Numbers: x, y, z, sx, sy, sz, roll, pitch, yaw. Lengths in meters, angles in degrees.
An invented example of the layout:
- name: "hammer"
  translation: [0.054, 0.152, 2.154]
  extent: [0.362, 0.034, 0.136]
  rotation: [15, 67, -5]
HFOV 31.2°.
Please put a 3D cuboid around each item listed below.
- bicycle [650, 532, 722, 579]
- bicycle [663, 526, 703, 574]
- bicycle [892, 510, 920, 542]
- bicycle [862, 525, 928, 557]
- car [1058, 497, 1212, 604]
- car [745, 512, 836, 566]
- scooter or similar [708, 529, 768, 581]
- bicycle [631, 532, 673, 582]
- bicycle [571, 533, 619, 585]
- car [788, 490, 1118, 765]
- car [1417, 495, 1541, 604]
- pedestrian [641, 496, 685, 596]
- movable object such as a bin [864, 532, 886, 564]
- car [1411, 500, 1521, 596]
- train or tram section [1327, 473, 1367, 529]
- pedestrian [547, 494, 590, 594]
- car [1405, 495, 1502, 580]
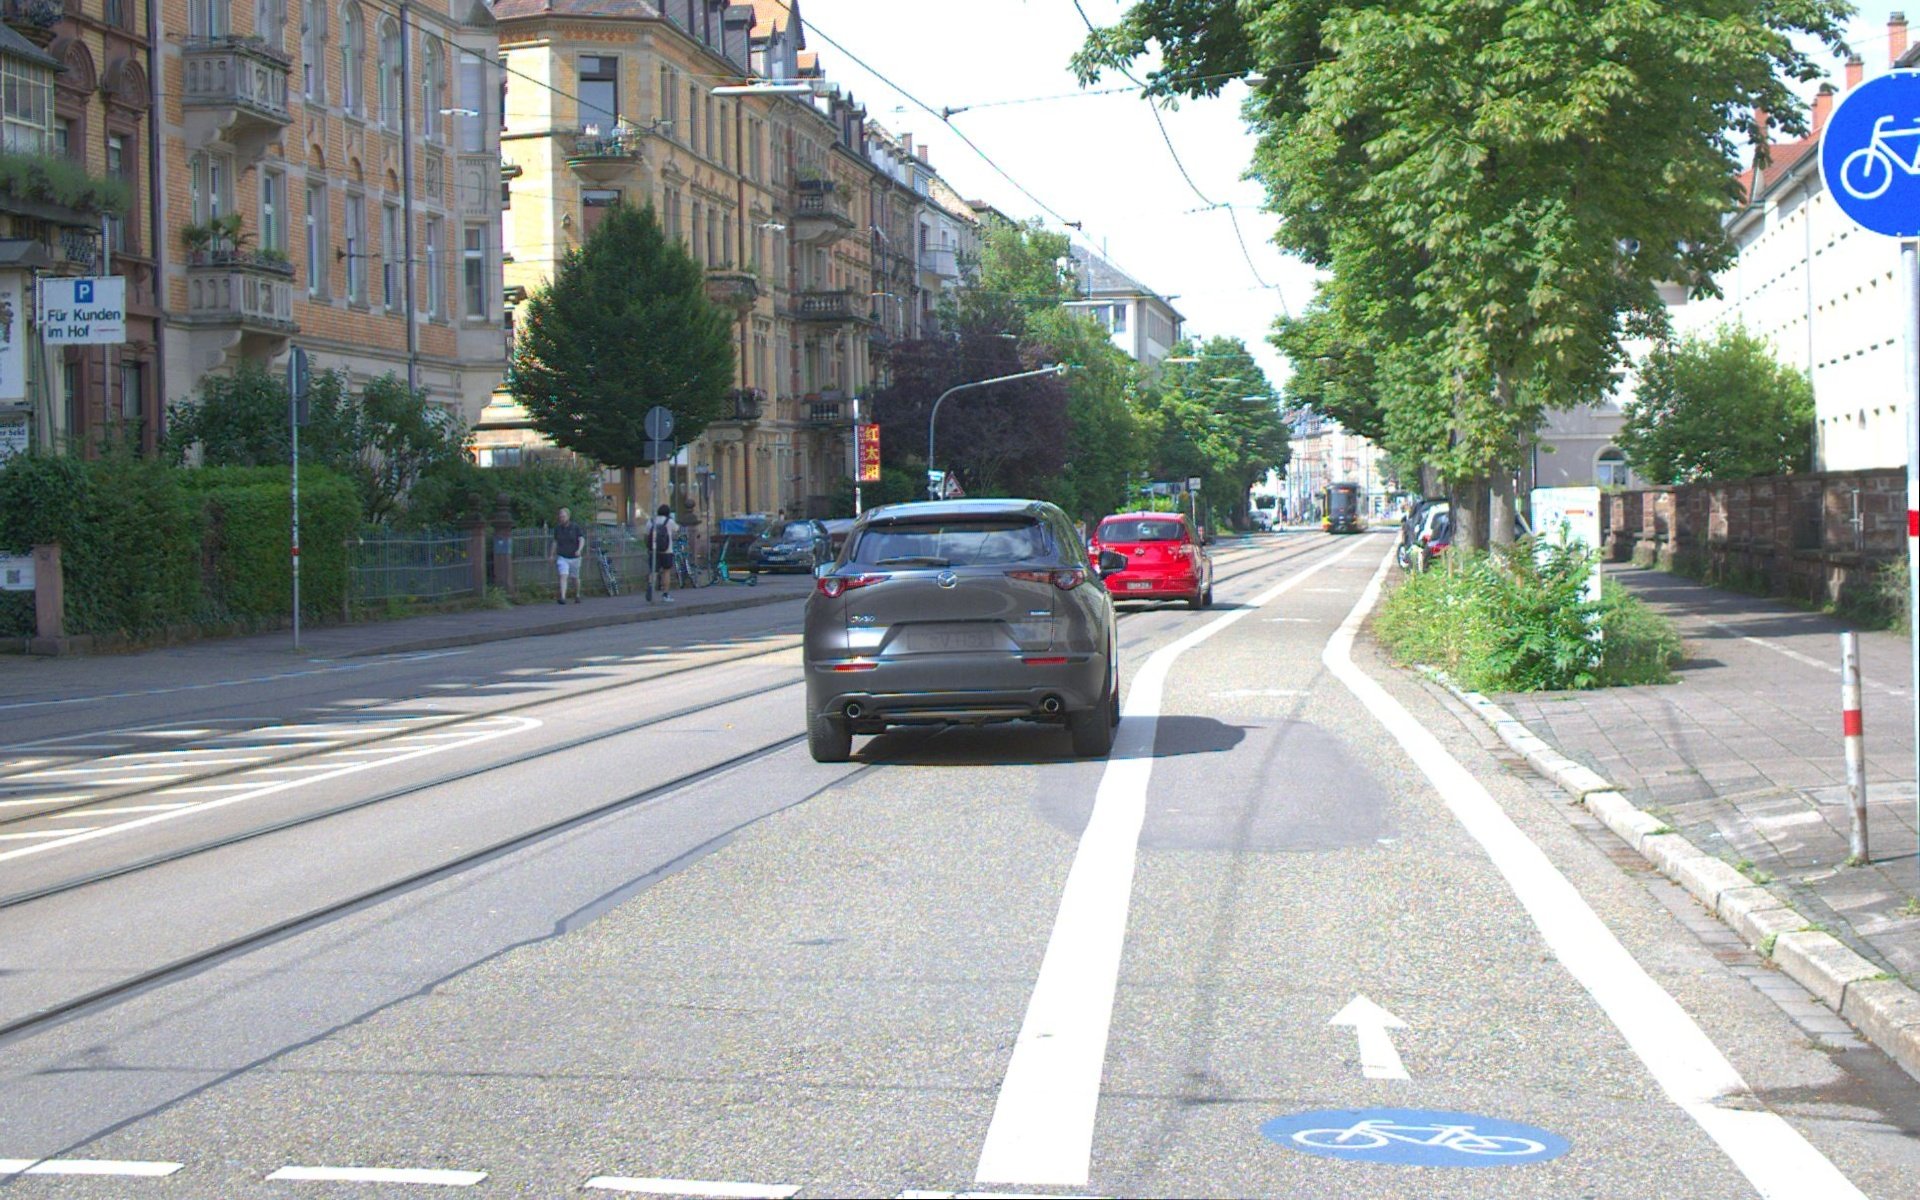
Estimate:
- name: "bicycle"
  translation: [-5.834, -0.954, 73.286]
  extent: [1.453, 0.973, 0.404]
  rotation: [-1, 1, 8]
- name: "bicycle"
  translation: [-5.768, -1.052, 71.568]
  extent: [0.421, 0.973, 1.949]
  rotation: [-1, 1, 7]
- name: "bicycle"
  translation: [-1.613, -2.227, 102.984]
  extent: [0.530, 0.943, 1.967]
  rotation: [-1, 1, 7]
- name: "bicycle"
  translation: [-1.989, -1.815, 105.516]
  extent: [1.961, 0.943, 0.532]
  rotation: [-1, 1, 3]
- name: "car"
  translation: [2.700, -0.770, 52.184]
  extent: [1.994, 1.523, 3.999]
  rotation: [1, 1, 7]
- name: "car"
  translation: [-4.765, -1.747, 97.120]
  extent: [1.686, 1.454, 4.763]
  rotation: [-1, 1, 8]
- name: "scooter or similar"
  translation: [-5.294, -1.069, 81.974]
  extent: [1.361, 1.230, 0.404]
  rotation: [-1, 1, -21]
- name: "bicycle"
  translation: [-6.153, -0.862, 68.758]
  extent: [0.421, 0.973, 1.949]
  rotation: [-1, 1, 7]
- name: "bicycle"
  translation: [-6.778, -0.770, 63.906]
  extent: [0.421, 0.929, 1.949]
  rotation: [-1, 1, 7]
- name: "car"
  translation: [0.039, 0.101, 21.166]
  extent: [1.721, 1.521, 3.589]
  rotation: [-1, 2, 4]
- name: "car"
  translation: [7.630, -0.770, 50.830]
  extent: [1.661, 1.516, 4.287]
  rotation: [-1, 1, 7]
- name: "pedestrian"
  translation: [-5.318, -0.973, 61.632]
  extent: [0.533, 1.754, 1.105]
  rotation: [1, 1, 7]
- name: "movable object such as a bin"
  translation: [-2.454, -1.508, 99.108]
  extent: [0.525, 0.902, 0.636]
  rotation: [-1, 1, 6]
- name: "car"
  translation: [8.717, -0.926, 59.465]
  extent: [1.742, 1.575, 4.248]
  rotation: [-1, 1, 7]
- name: "train or tram section"
  translation: [26.814, -6.869, 237.977]
  extent: [2.572, 3.759, 13.023]
  rotation: [-1, 2, 7]
- name: "pedestrian"
  translation: [-6.775, -0.977, 59.560]
  extent: [0.487, 1.697, 1.151]
  rotation: [-1, 1, 6]
- name: "car"
  translation: [10.075, -1.302, 70.459]
  extent: [1.863, 1.647, 4.636]
  rotation: [-1, 1, 7]
